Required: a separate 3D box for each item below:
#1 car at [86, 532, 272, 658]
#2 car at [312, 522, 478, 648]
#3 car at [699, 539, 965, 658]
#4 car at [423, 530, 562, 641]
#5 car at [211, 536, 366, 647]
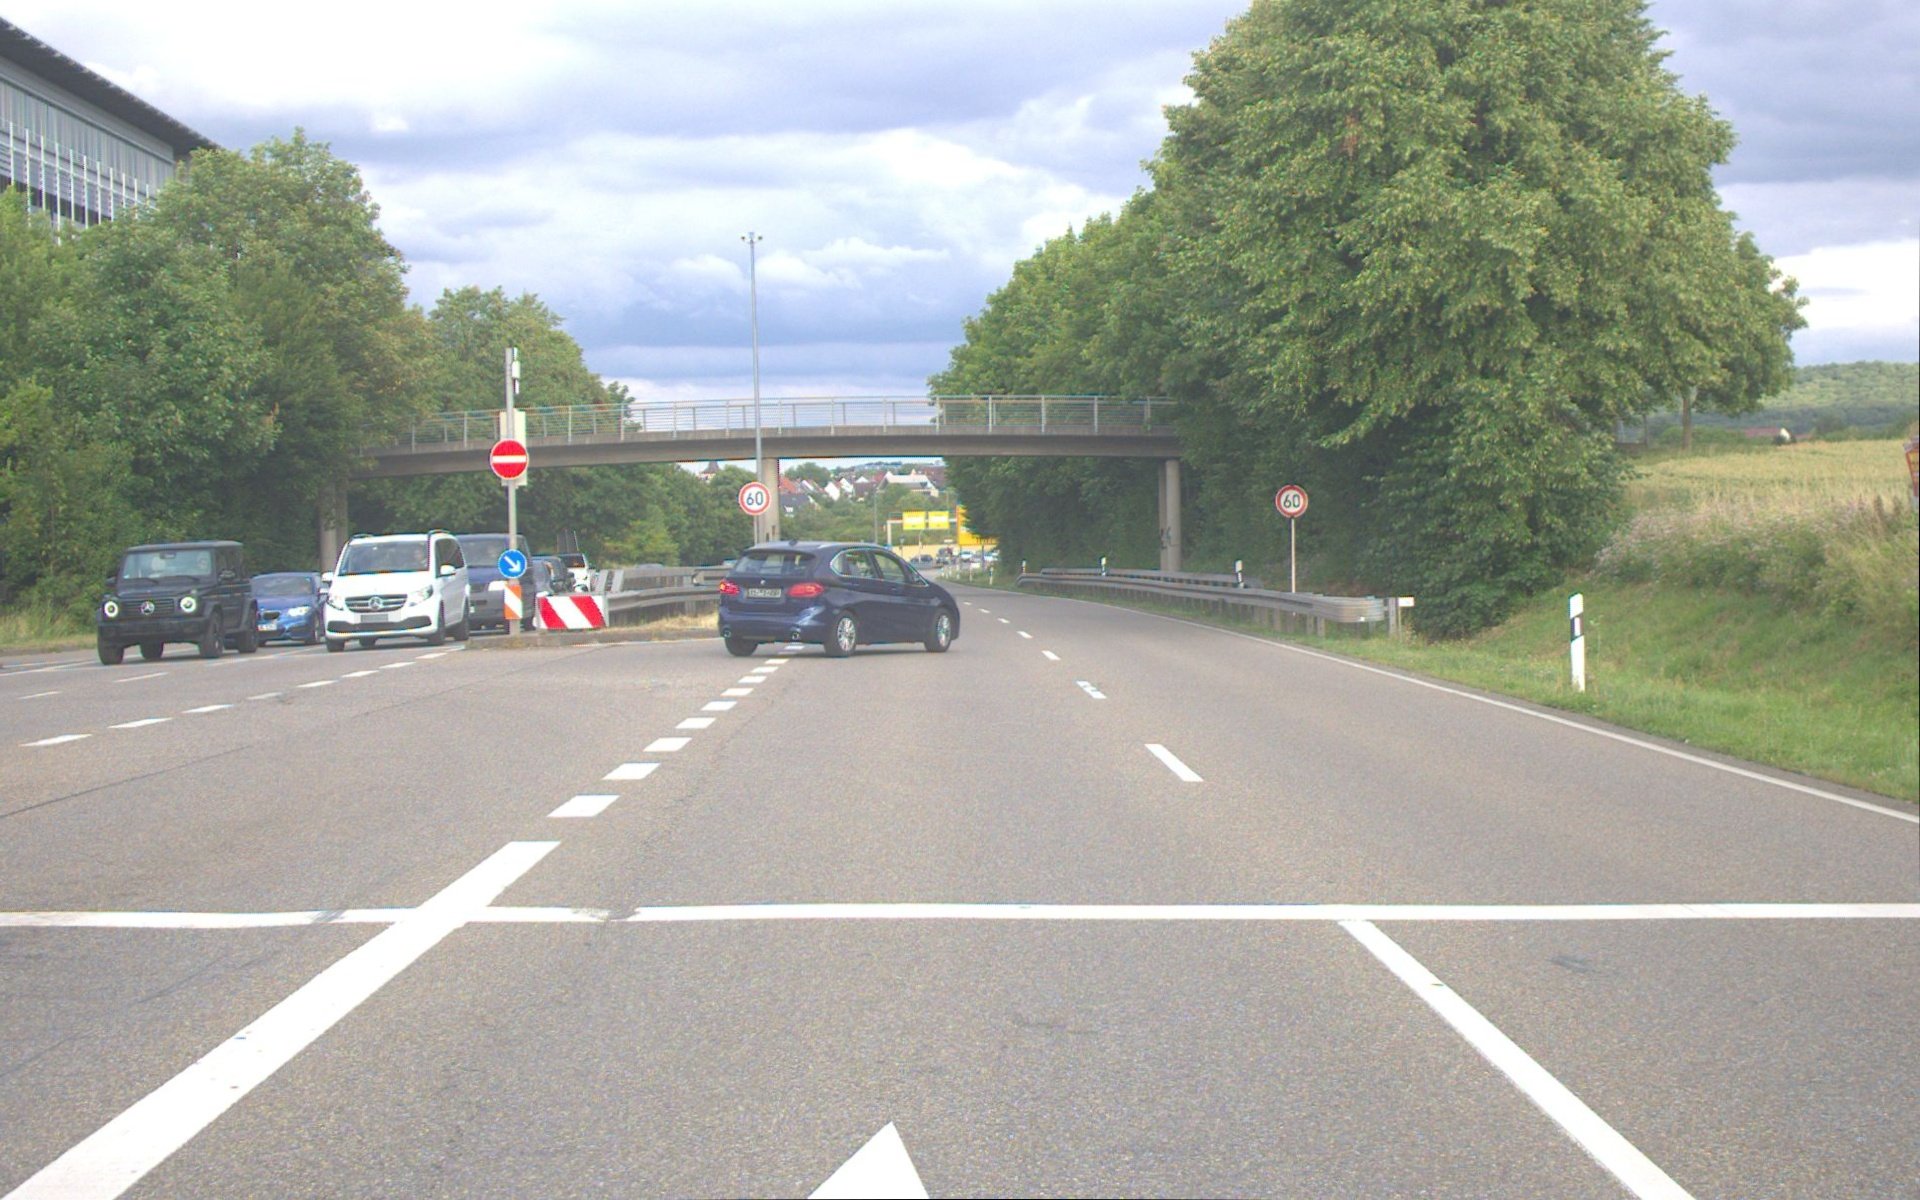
[{"bbox_3d":[-13.142,-0.106,58.136,2.083,2.007,5.217,1,1,-2],"label":"car"},{"bbox_3d":[-9.508,-0.269,58.240,2.083,2.007,5.217,1,1,-2],"label":"car"},{"bbox_3d":[-1.710,-0.035,47.179,1.882,1.547,3.994,1,1,28],"label":"car"},{"bbox_3d":[-8.918,-0.297,65.976,2.083,2.007,5.217,1,1,-2],"label":"car"},{"bbox_3d":[-12.762,-0.177,65.636,2.083,2.007,5.217,1,1,-2],"label":"car"}]
